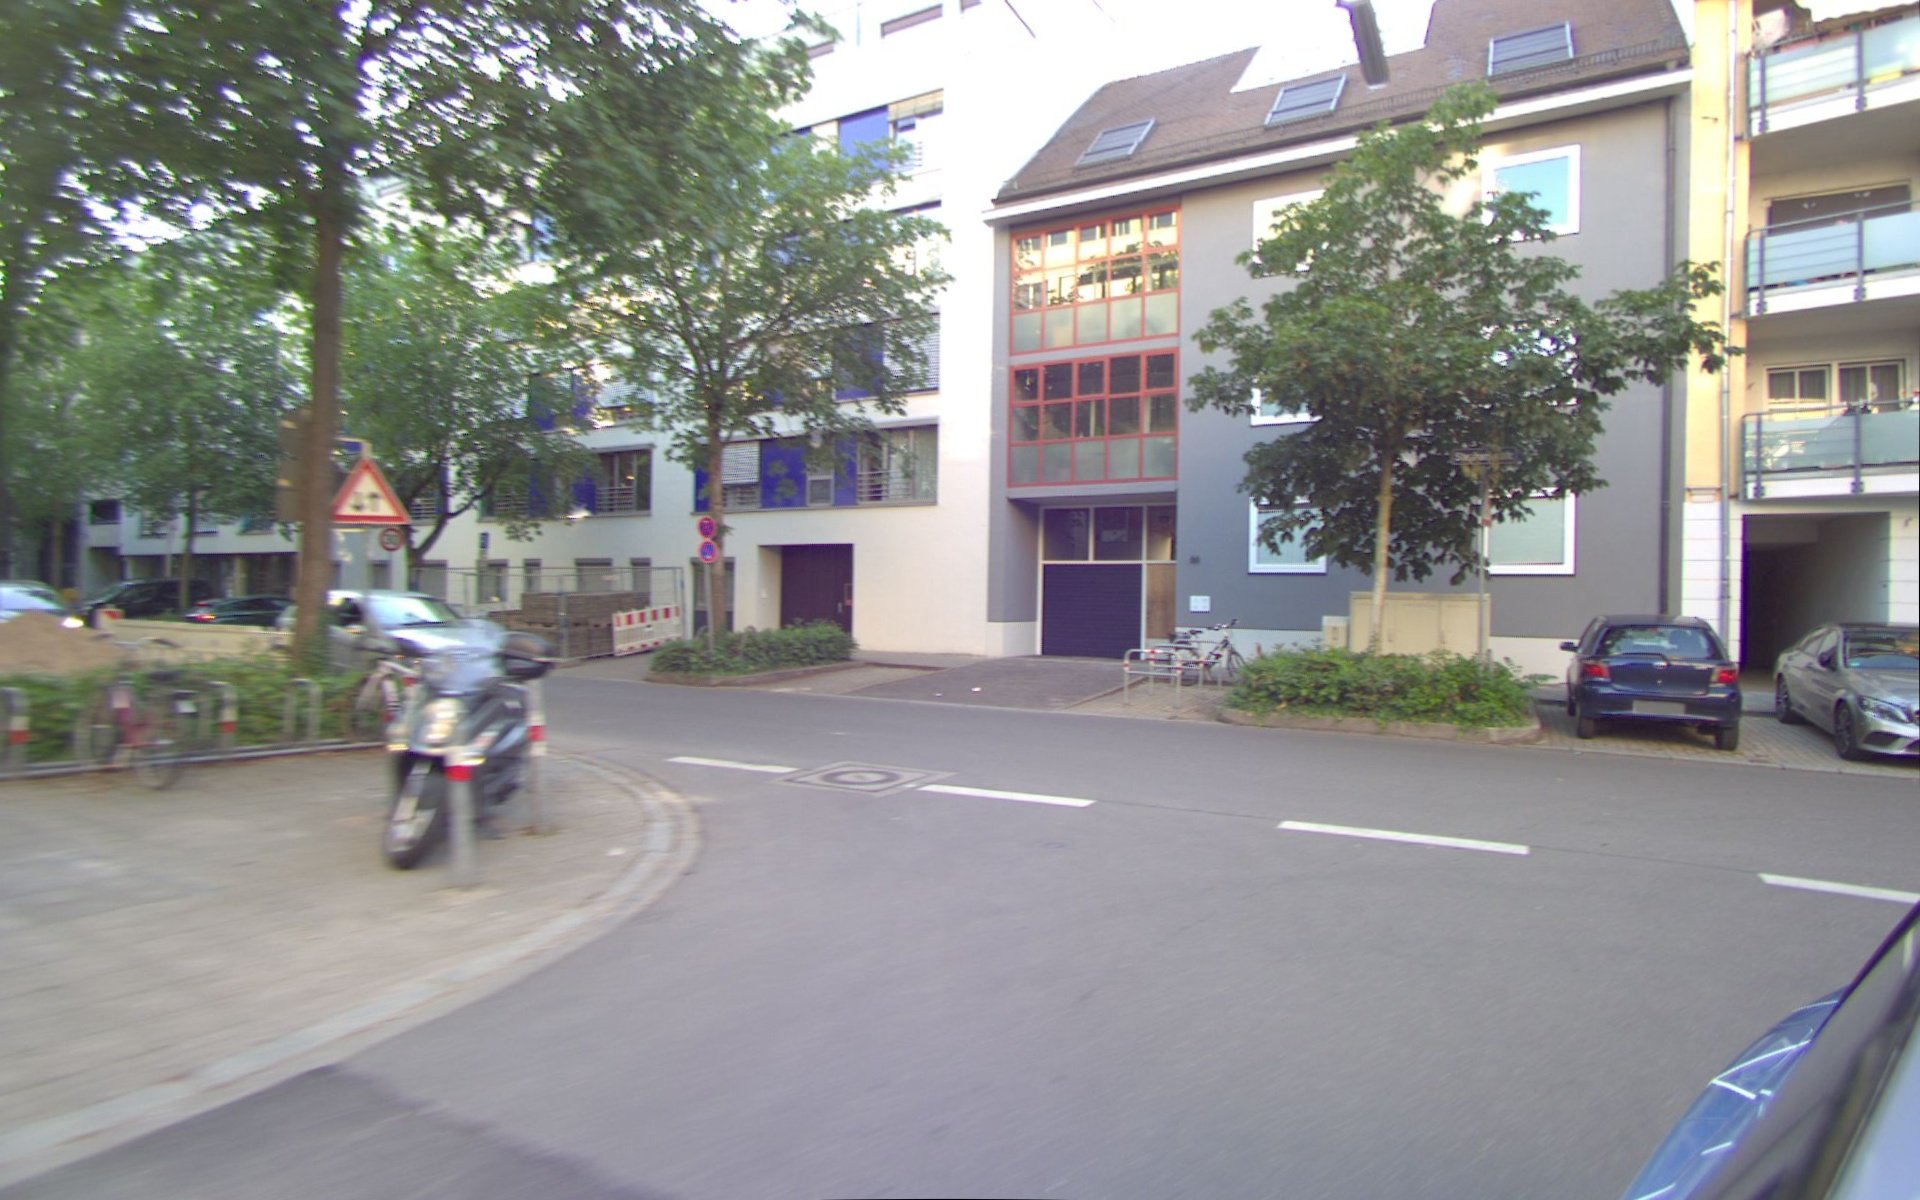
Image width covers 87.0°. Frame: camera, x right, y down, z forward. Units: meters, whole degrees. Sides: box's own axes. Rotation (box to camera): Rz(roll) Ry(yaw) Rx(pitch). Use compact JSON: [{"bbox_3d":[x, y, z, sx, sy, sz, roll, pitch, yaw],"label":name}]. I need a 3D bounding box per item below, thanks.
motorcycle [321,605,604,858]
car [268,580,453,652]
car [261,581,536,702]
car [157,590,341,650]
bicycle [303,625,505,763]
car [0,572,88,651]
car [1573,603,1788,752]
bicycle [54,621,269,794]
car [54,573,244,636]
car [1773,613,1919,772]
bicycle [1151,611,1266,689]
[{"bbox_3d":[-3.072,0.710,6.605,1.045,1.298,2.361,1,0,-11],"label":"motorcycle"},{"bbox_3d":[-16.478,0.417,27.989,1.986,1.828,3.952,0,0,33],"label":"car"},{"bbox_3d":[-8.850,0.553,15.907,4.085,1.633,1.995,1,0,30],"label":"car"},{"bbox_3d":[-20.736,0.549,29.671,1.984,1.605,3.956,0,0,31],"label":"car"},{"bbox_3d":[-5.395,0.860,9.803,1.960,1.167,0.679,1,0,25],"label":"bicycle"},{"bbox_3d":[-22.410,0.214,23.891,4.678,1.735,1.929,1,0,39],"label":"car"},{"bbox_3d":[8.955,0.841,12.875,1.816,1.584,3.514,0,0,29],"label":"car"},{"bbox_3d":[-6.359,0.781,8.028,1.965,1.167,0.678,1,0,31],"label":"bicycle"},{"bbox_3d":[-27.960,0.180,35.086,1.982,2.039,4.705,1,-1,29],"label":"car"},{"bbox_3d":[11.315,0.963,11.860,1.993,1.591,4.589,1,0,29],"label":"car"},{"bbox_3d":[4.337,0.848,17.726,1.791,1.251,0.821,1,0,34],"label":"bicycle"}]
